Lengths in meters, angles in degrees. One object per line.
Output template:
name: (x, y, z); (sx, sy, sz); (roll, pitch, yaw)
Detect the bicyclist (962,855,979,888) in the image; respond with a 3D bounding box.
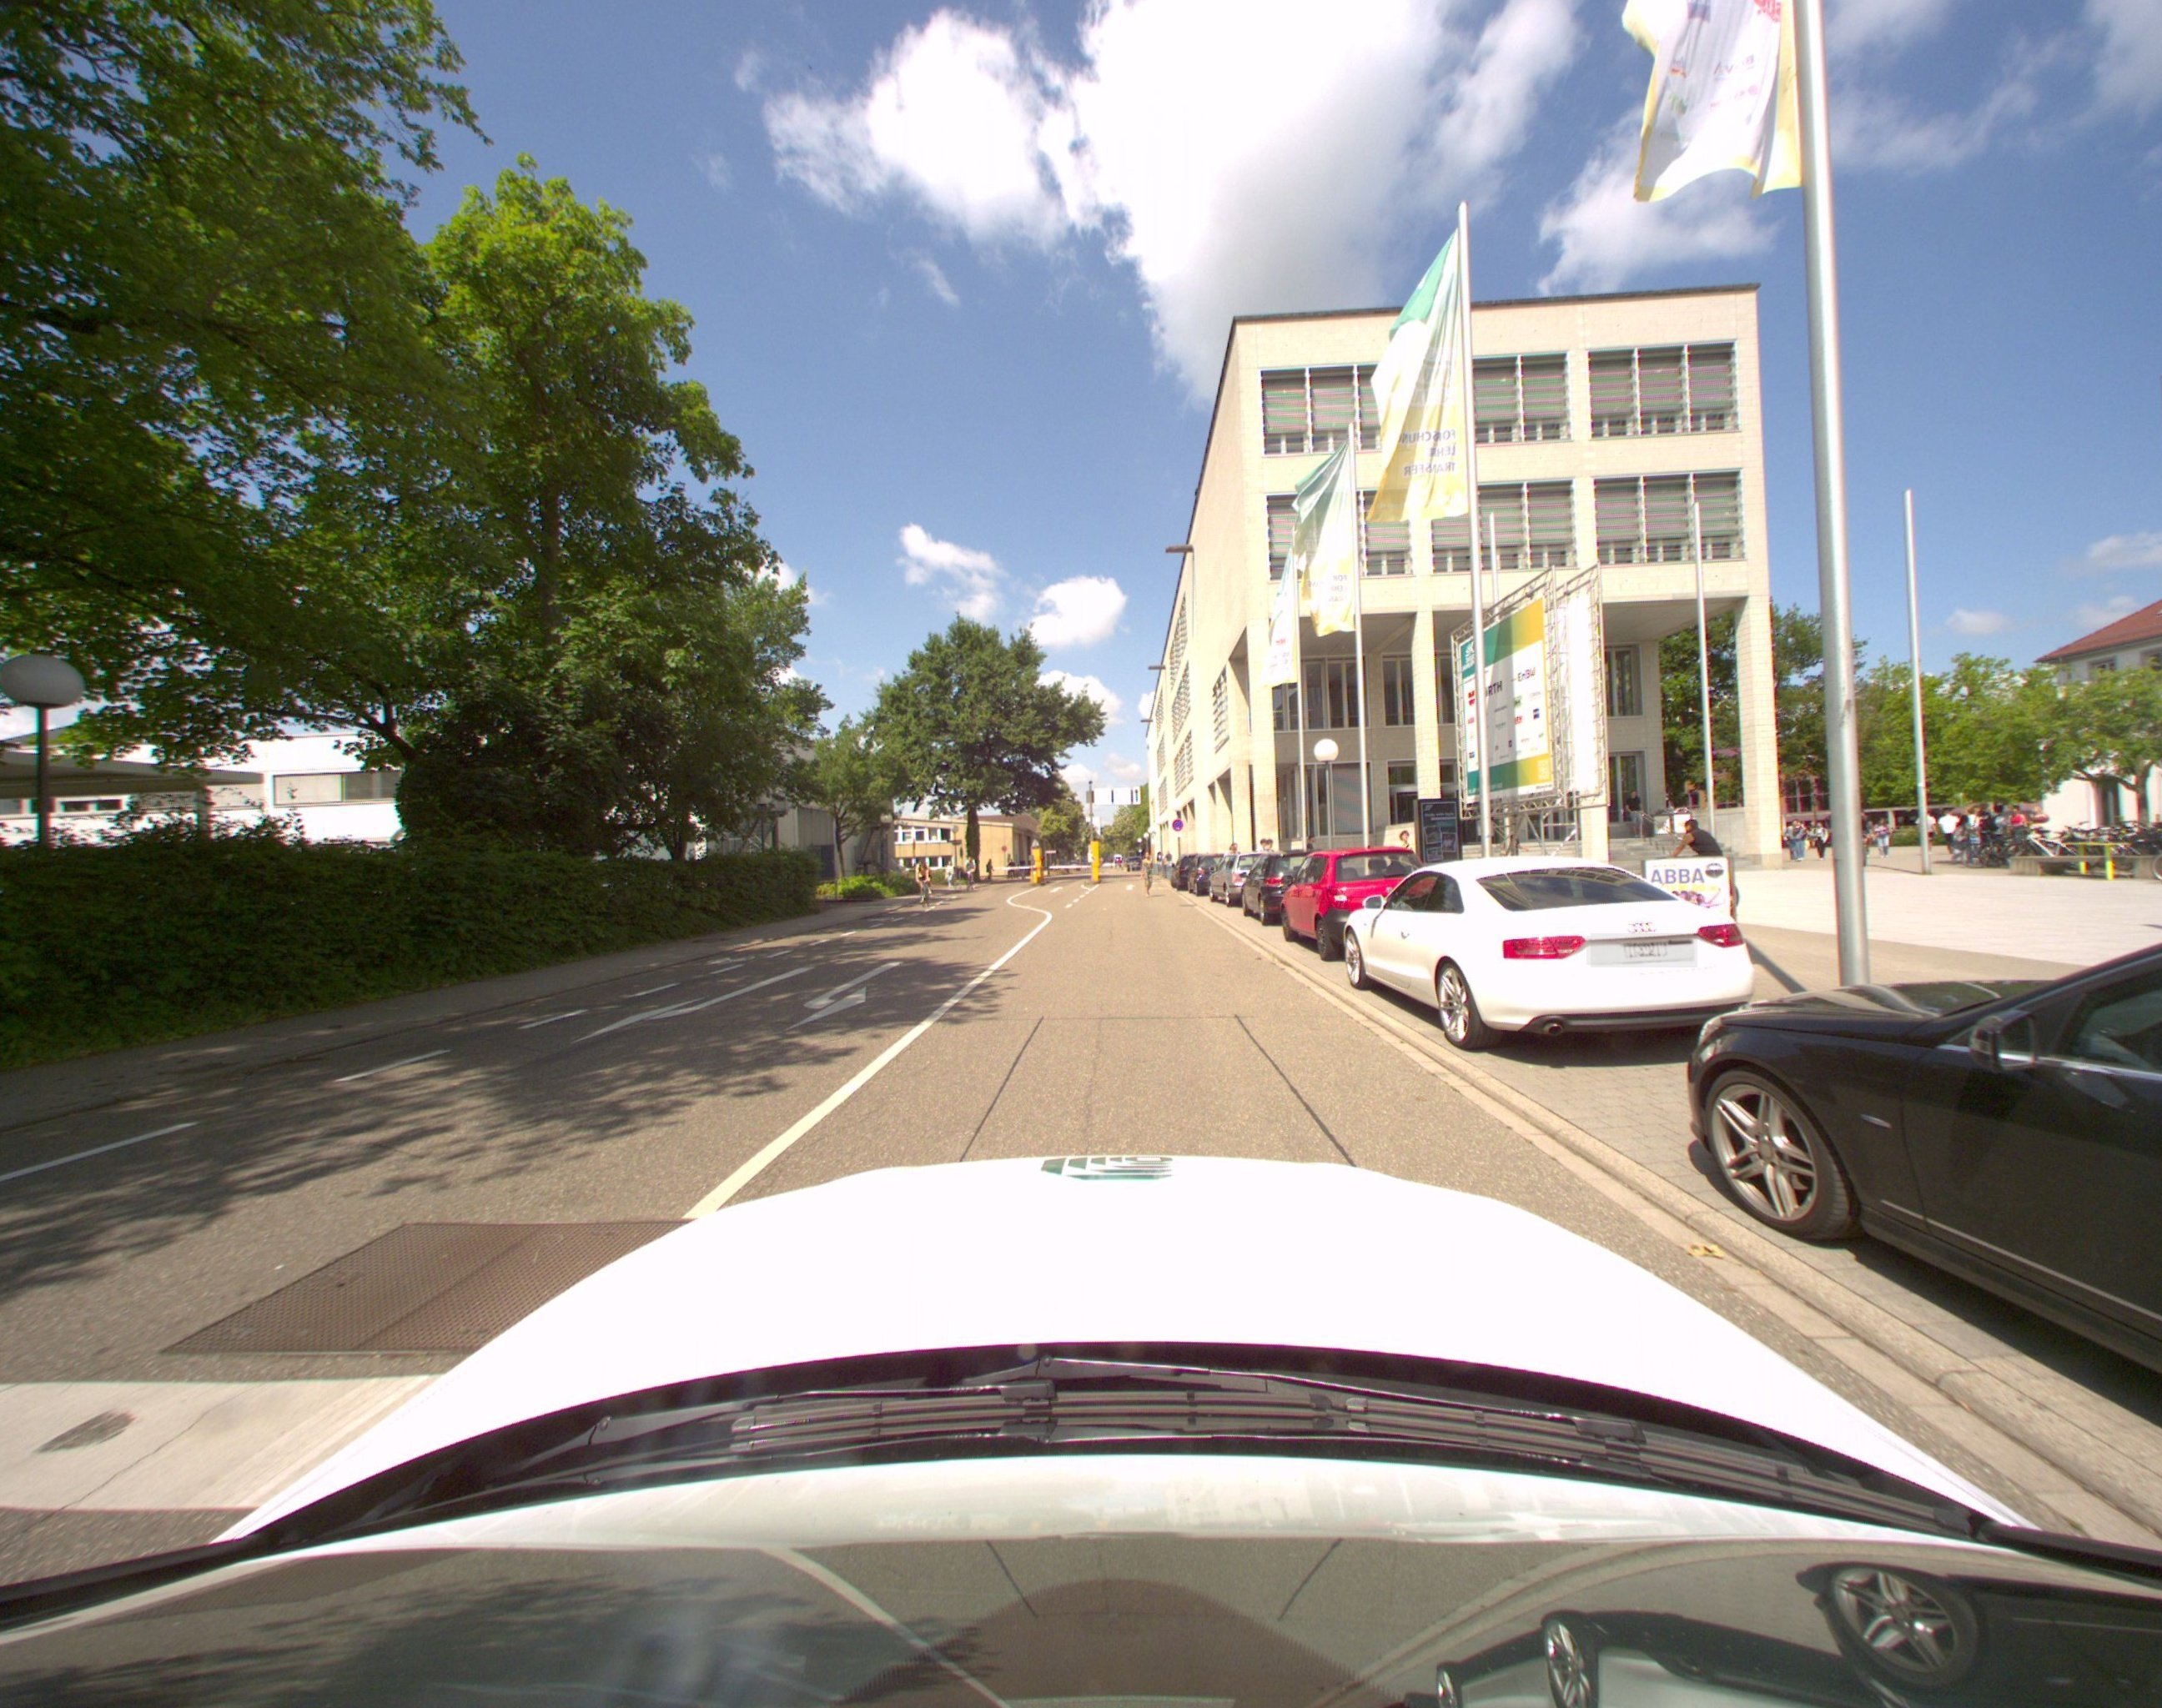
bicyclist: (-6.052, 0.958, 44.526); (0.690, 1.737, 0.919); (-2, -1, 1)

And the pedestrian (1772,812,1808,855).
pedestrian: (29.056, -0.823, 33.371); (0.862, 1.702, 0.637); (-3, -3, 21)

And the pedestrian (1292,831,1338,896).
pedestrian: (7.243, 0.289, 25.250); (1.090, 1.920, 1.021); (-2, -1, 3)

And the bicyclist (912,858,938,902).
bicyclist: (-5.726, 0.951, 29.899); (0.690, 1.548, 1.019); (-2, -1, 1)

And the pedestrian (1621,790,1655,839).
pedestrian: (21.431, -1.529, 31.339); (0.714, 1.798, 0.717); (-3, -2, 5)

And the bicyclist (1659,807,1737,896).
bicyclist: (11.290, -0.042, 14.934); (0.659, 1.564, 0.933); (-2, 0, 0)

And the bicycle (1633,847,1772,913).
bicycle: (11.288, 0.433, 14.919); (0.898, 1.078, 2.155); (-3, 0, 1)

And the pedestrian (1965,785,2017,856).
pedestrian: (29.545, -1.073, 26.448); (0.843, 2.230, 0.638); (-4, -3, 30)

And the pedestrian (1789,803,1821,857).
pedestrian: (30.540, -0.998, 34.346); (0.708, 2.230, 0.637); (-3, -3, 21)

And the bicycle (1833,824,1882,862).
bicycle: (24.772, -0.359, 25.982); (1.698, 1.137, 0.676); (-3, 1, -30)

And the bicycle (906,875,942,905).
bicycle: (-5.716, 1.286, 29.755); (0.790, 0.989, 2.210); (-2, -1, 2)

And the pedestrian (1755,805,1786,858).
pedestrian: (29.901, -0.963, 35.334); (0.708, 2.230, 0.637); (-3, -3, 21)

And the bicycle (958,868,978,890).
bicycle: (-6.160, 1.356, 44.634); (0.690, 1.171, 2.210); (-2, -1, 2)

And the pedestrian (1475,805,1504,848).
pedestrian: (15.953, -1.058, 31.826); (0.714, 1.585, 0.717); (-3, -2, 5)

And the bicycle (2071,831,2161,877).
bicycle: (26.626, 0.001, 20.685); (0.605, 1.099, 1.751); (-1, -3, -28)

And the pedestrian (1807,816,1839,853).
pedestrian: (30.523, -0.795, 33.523); (0.708, 1.431, 0.637); (-3, -3, 21)

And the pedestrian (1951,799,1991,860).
pedestrian: (26.676, -0.717, 24.413); (0.626, 1.747, 0.721); (-4, -3, 40)

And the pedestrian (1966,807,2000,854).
pedestrian: (34.680, -0.899, 31.308); (0.718, 1.777, 0.628); (-1, -3, -28)

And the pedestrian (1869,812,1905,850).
pedestrian: (32.503, -0.922, 32.833); (0.630, 1.437, 0.715); (-2, -2, -3)

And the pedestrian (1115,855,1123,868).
pedestrian: (4.855, 0.904, 103.974); (0.890, 1.632, 0.889); (-2, -1, 4)

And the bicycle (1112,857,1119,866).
bicycle: (5.169, 1.110, 123.782); (0.983, 1.316, 2.965); (-2, -2, 2)

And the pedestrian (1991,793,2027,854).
pedestrian: (35.002, -1.148, 30.729); (0.718, 2.230, 0.628); (-1, -3, -28)

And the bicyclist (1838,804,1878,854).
bicyclist: (24.835, -0.798, 26.030); (0.882, 1.569, 0.676); (-3, 1, -30)

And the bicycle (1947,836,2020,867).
bicycle: (25.205, -0.076, 22.749); (1.762, 0.792, 0.518); (-2, 0, -11)

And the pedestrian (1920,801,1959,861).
pedestrian: (26.079, -0.679, 24.745); (0.626, 1.747, 0.721); (-4, -3, 40)

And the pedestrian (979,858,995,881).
pedestrian: (-7.993, 1.285, 69.459); (0.876, 1.925, 1.012); (-2, -2, 24)

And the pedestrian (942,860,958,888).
pedestrian: (-7.751, 1.189, 48.099); (0.710, 1.627, 0.884); (-2, -1, 1)

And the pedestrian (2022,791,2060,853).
pedestrian: (35.297, -1.180, 29.951); (0.718, 2.230, 0.628); (-1, -3, -28)

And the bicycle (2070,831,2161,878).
bicycle: (26.039, 0.008, 20.222); (0.605, 1.099, 1.751); (-1, -3, -28)

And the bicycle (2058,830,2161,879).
bicycle: (25.376, 0.025, 19.928); (0.605, 1.099, 1.751); (-1, -3, -28)

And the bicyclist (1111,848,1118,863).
bicyclist: (5.170, 0.199, 124.090); (0.983, 2.132, 1.036); (-2, -2, 1)

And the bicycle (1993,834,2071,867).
bicycle: (25.238, -0.085, 21.616); (1.762, 0.792, 0.518); (-2, 0, -11)
